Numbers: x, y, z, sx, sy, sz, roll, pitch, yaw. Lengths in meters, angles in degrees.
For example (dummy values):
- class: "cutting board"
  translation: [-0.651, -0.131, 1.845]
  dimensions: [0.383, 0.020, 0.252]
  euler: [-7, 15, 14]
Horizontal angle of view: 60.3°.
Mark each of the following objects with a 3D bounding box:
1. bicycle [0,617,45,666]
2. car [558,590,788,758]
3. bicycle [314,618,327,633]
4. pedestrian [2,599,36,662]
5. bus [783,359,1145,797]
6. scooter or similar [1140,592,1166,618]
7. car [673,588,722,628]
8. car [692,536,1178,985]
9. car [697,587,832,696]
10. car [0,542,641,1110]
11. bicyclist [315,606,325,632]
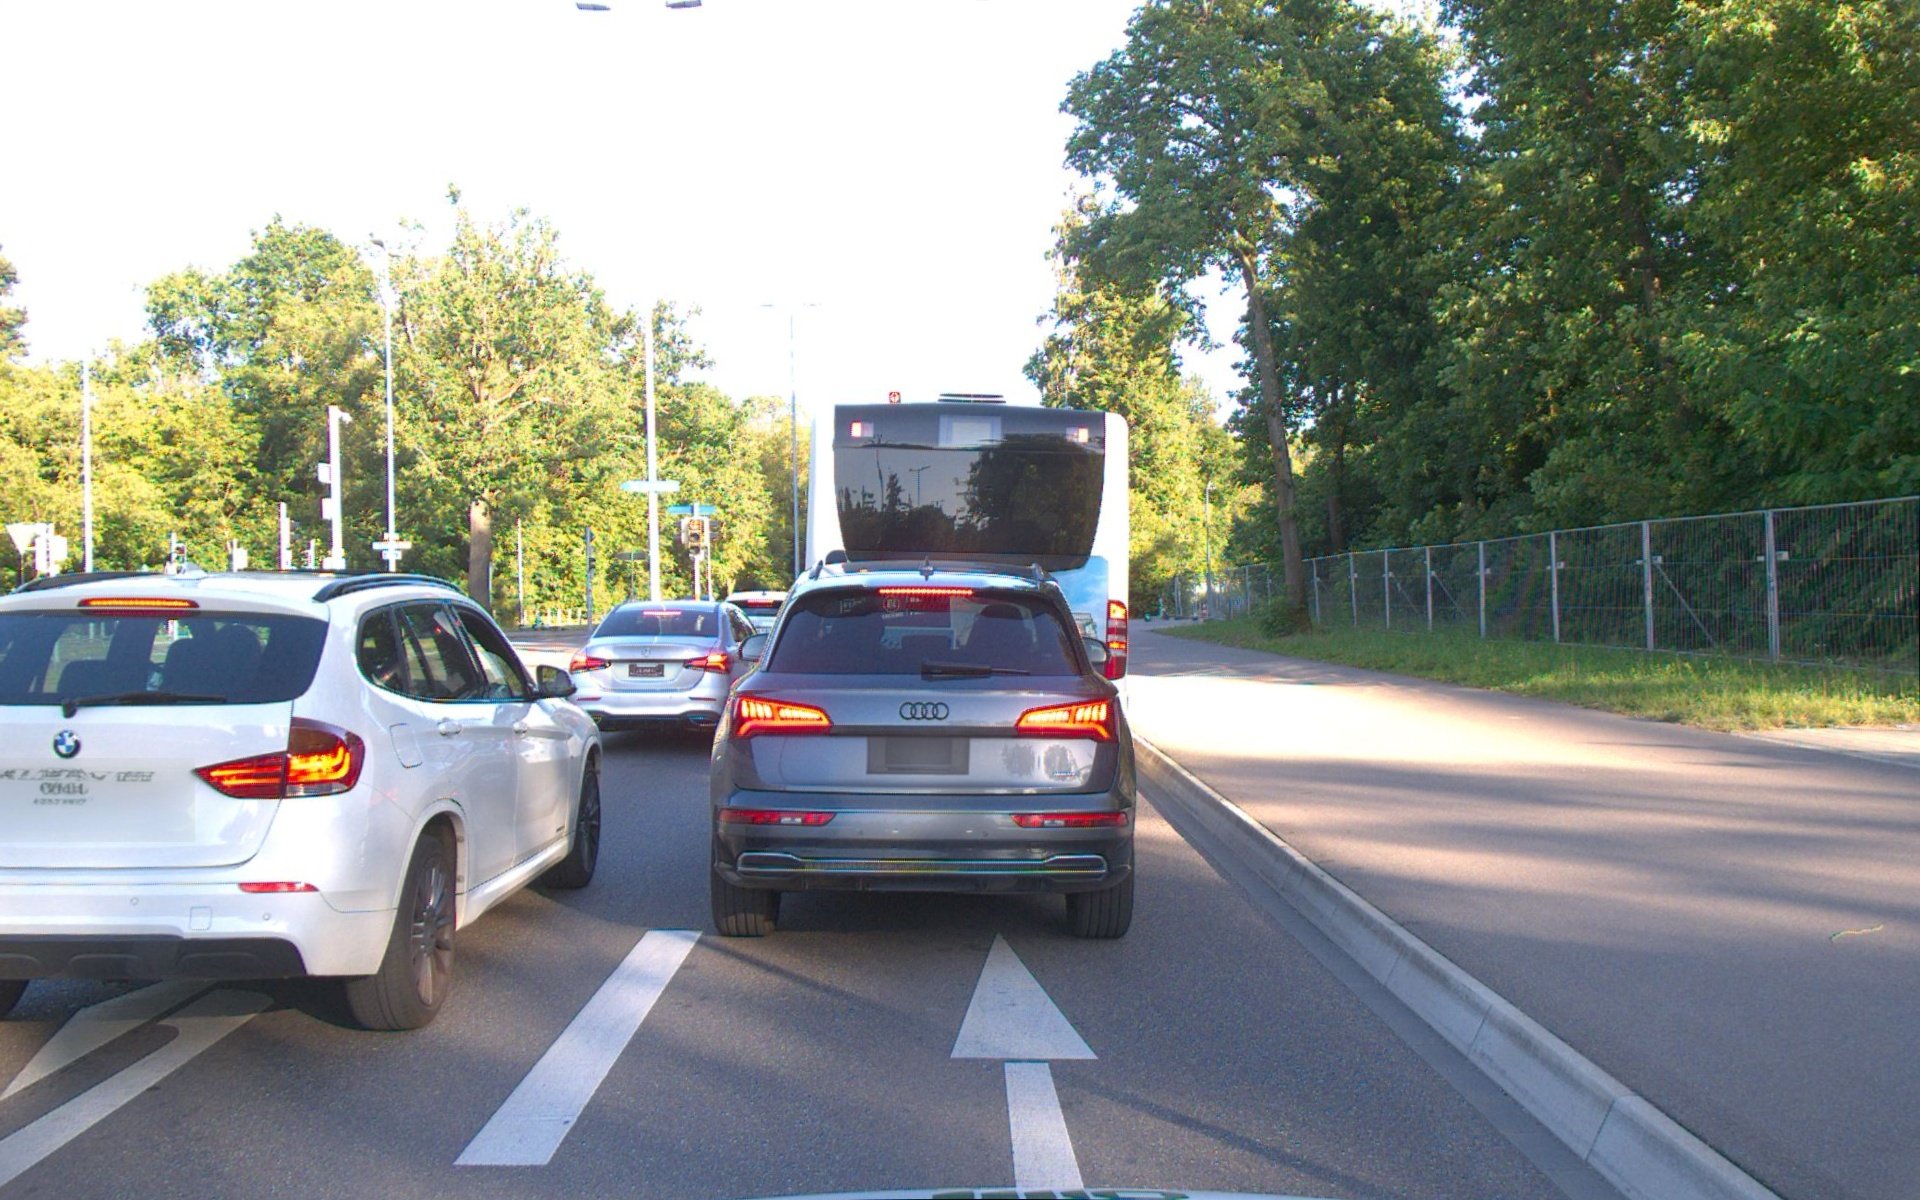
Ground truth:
- class: "bicycle"
  translation: [-24.149, 1.043, 42.249]
  dimensions: [0.458, 1.198, 2.003]
  euler: [1, 0, -1]
- class: "car"
  translation: [-2.836, 0.660, 17.217]
  dimensions: [1.749, 1.469, 4.276]
  euler: [1, 1, -2]
- class: "bicycle"
  translation: [-24.688, 0.987, 63.847]
  dimensions: [0.261, 0.592, 0.838]
  euler: [1, 0, -6]
- class: "pedestrian"
  translation: [-24.145, 0.781, 42.430]
  dimensions: [0.472, 1.589, 0.648]
  euler: [1, -1, -1]
- class: "bus"
  translation: [0.053, -0.201, 15.160]
  dimensions: [2.623, 3.196, 5.882]
  euler: [1, 1, 0]
- class: "scooter or similar"
  translation: [9.111, 0.248, 78.066]
  dimensions: [1.158, 1.195, 0.659]
  euler: [1, 0, 11]
- class: "car"
  translation: [-11.862, 0.360, 74.847]
  dimensions: [1.955, 1.691, 3.995]
  euler: [-2, 0, -6]
- class: "car"
  translation: [-0.121, 0.589, 8.322]
  dimensions: [1.830, 1.693, 4.000]
  euler: [1, 1, -1]
- class: "car"
  translation: [-3.128, 0.613, 27.194]
  dimensions: [1.771, 1.599, 4.000]
  euler: [1, 1, -1]
- class: "car"
  translation: [-2.583, 0.615, 6.928]
  dimensions: [1.684, 1.608, 4.433]
  euler: [1, 1, -1]
- class: "bicyclist"
  translation: [-24.681, 0.723, 63.787]
  dimensions: [0.268, 0.979, 0.240]
  euler: [1, -1, -6]
